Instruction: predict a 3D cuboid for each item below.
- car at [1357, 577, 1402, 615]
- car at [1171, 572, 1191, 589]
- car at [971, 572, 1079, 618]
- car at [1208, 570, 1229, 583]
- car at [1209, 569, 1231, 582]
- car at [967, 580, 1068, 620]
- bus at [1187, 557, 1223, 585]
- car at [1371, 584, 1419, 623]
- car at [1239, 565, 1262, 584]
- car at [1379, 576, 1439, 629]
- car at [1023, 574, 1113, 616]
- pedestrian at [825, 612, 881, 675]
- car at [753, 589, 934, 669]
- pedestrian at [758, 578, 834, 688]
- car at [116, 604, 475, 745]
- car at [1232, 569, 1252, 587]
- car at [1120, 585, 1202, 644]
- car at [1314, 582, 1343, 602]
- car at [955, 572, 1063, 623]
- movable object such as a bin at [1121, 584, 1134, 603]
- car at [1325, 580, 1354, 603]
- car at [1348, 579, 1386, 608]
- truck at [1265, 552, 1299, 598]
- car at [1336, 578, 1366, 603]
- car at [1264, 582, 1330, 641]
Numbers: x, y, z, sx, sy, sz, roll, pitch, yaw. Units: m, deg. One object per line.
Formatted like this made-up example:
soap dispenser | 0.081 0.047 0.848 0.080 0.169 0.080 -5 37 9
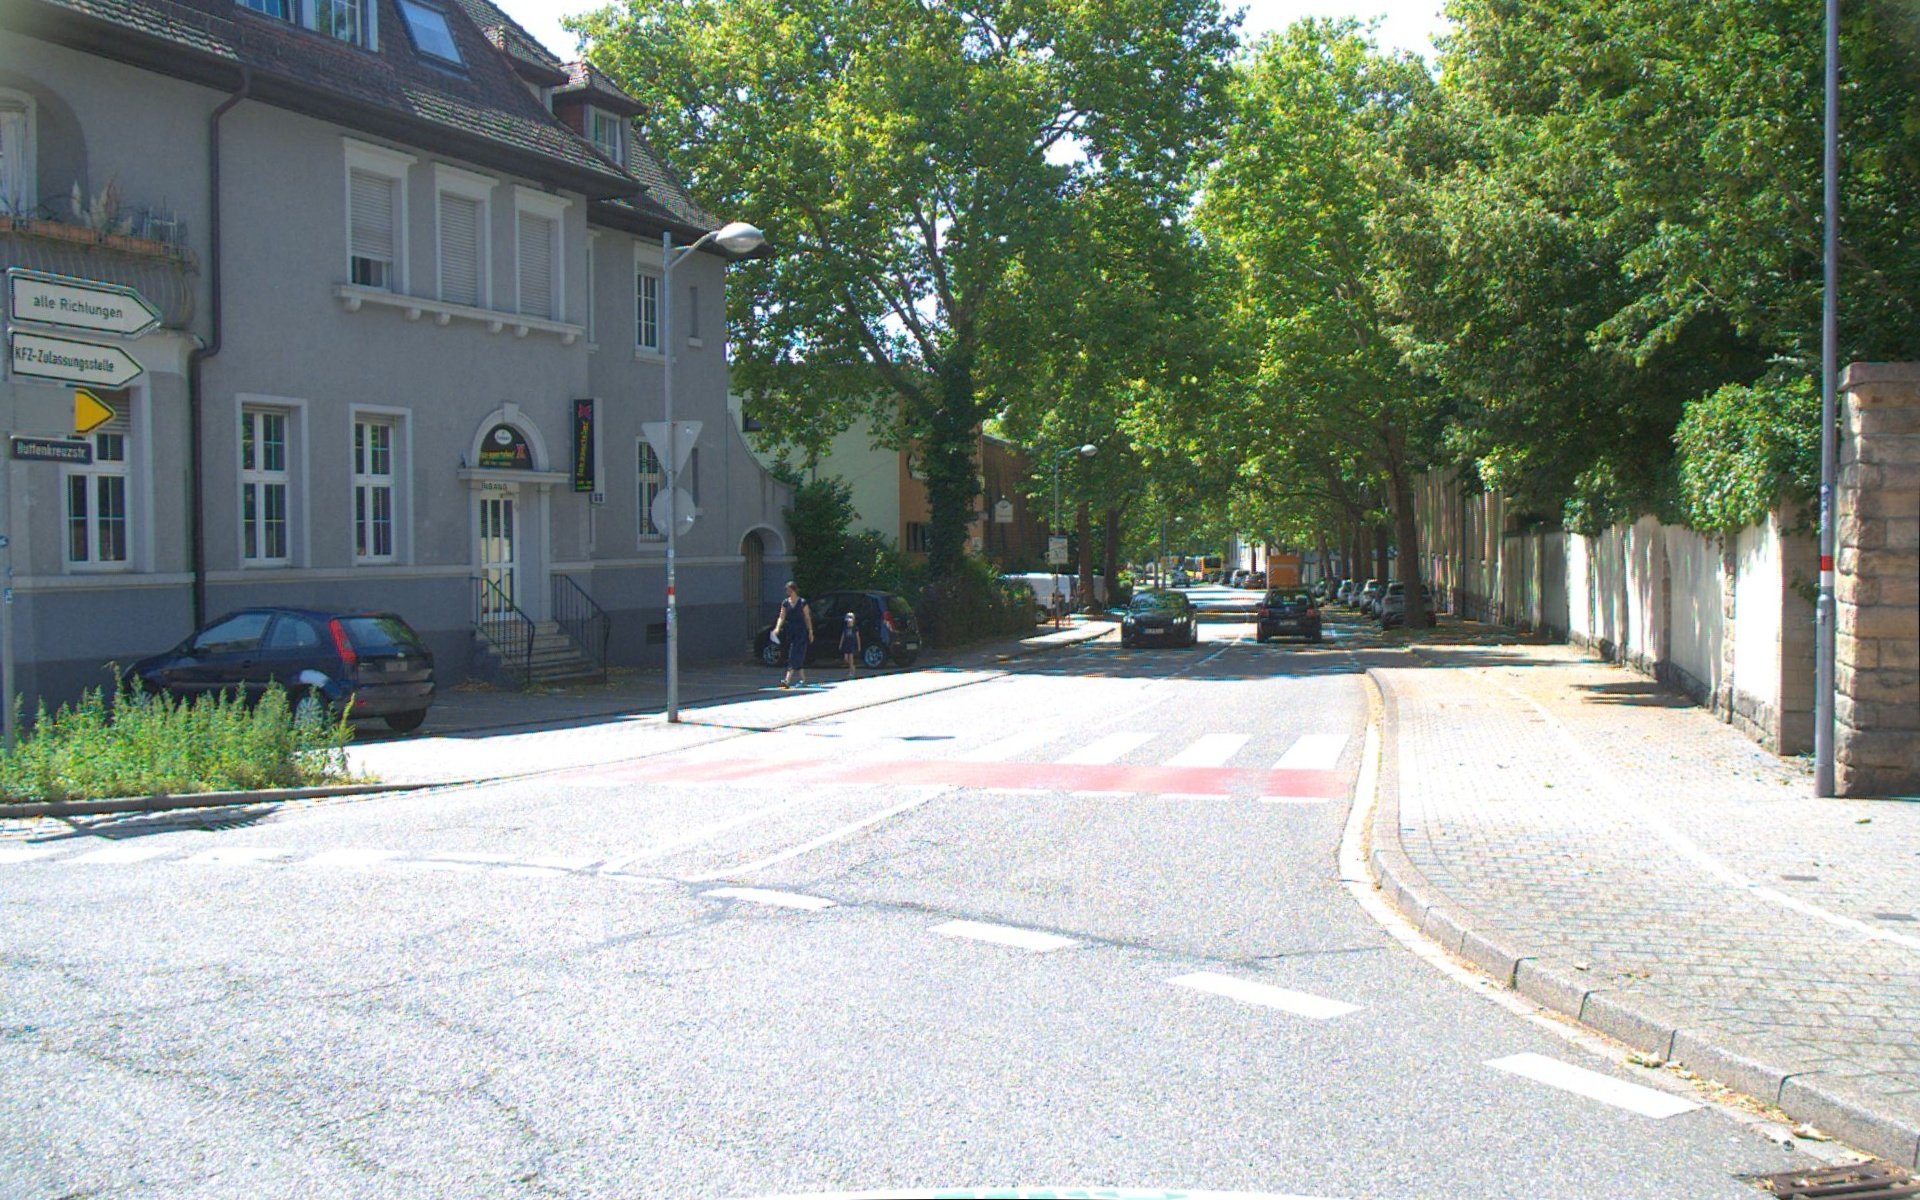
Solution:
car | 19.895 -0.211 78.586 1.769 1.718 4.756 -2 0 12
car | 23.448 -2.027 175.552 1.951 1.695 4.003 -1 -1 6
car | 2.784 -0.228 69.955 4.329 1.836 1.905 1 1 9
car | 29.618 -2.703 189.736 1.730 1.398 3.729 -2 0 0
car | 28.589 -2.677 181.997 1.731 1.398 3.729 -2 0 -1
car | 2.373 -0.010 67.462 3.902 1.542 1.870 1 1 9
bus | 30.412 -3.565 205.543 2.609 3.205 11.196 -1 0 -1
car | 17.562 0.113 66.911 1.586 1.465 4.437 -2 0 12
car | 28.558 -2.498 162.712 1.840 1.715 4.002 -1 -1 4
car | 15.042 0.037 55.623 1.704 1.584 4.784 -2 1 13
car | 5.085 -0.250 77.798 4.040 1.836 1.905 1 1 9
pedestrian | -1.978 0.799 30.647 0.738 1.141 0.898 -1 0 18
car | -2.392 0.582 34.175 3.312 1.573 1.724 -1 0 22
pedestrian | -2.714 0.538 27.389 0.853 1.773 1.113 -1 0 18
car | -7.722 0.832 19.248 3.703 1.486 1.724 -1 0 22
car | 28.983 -2.273 170.105 1.839 1.715 4.003 -1 -1 7
car | 5.312 0.348 43.320 1.731 1.451 4.396 -1 0 12
car | 27.665 -0.629 124.373 1.729 1.398 3.733 -2 0 7
car | 1.888 -0.119 62.947 3.902 1.824 1.870 1 1 9
movable object such as a bin | 9.654 -0.366 95.332 0.610 1.066 0.621 0 1 18
car | 26.514 -0.619 115.637 1.729 1.491 3.879 -2 0 10
car | 21.835 -0.358 88.825 1.729 1.458 3.879 -2 0 10
truck | 23.780 -1.814 122.380 2.320 3.189 5.774 -1 -1 10
car | 24.360 -0.603 103.139 1.543 1.491 3.879 -2 0 10
car | 9.282 0.286 45.614 1.674 1.472 4.062 -1 1 11
